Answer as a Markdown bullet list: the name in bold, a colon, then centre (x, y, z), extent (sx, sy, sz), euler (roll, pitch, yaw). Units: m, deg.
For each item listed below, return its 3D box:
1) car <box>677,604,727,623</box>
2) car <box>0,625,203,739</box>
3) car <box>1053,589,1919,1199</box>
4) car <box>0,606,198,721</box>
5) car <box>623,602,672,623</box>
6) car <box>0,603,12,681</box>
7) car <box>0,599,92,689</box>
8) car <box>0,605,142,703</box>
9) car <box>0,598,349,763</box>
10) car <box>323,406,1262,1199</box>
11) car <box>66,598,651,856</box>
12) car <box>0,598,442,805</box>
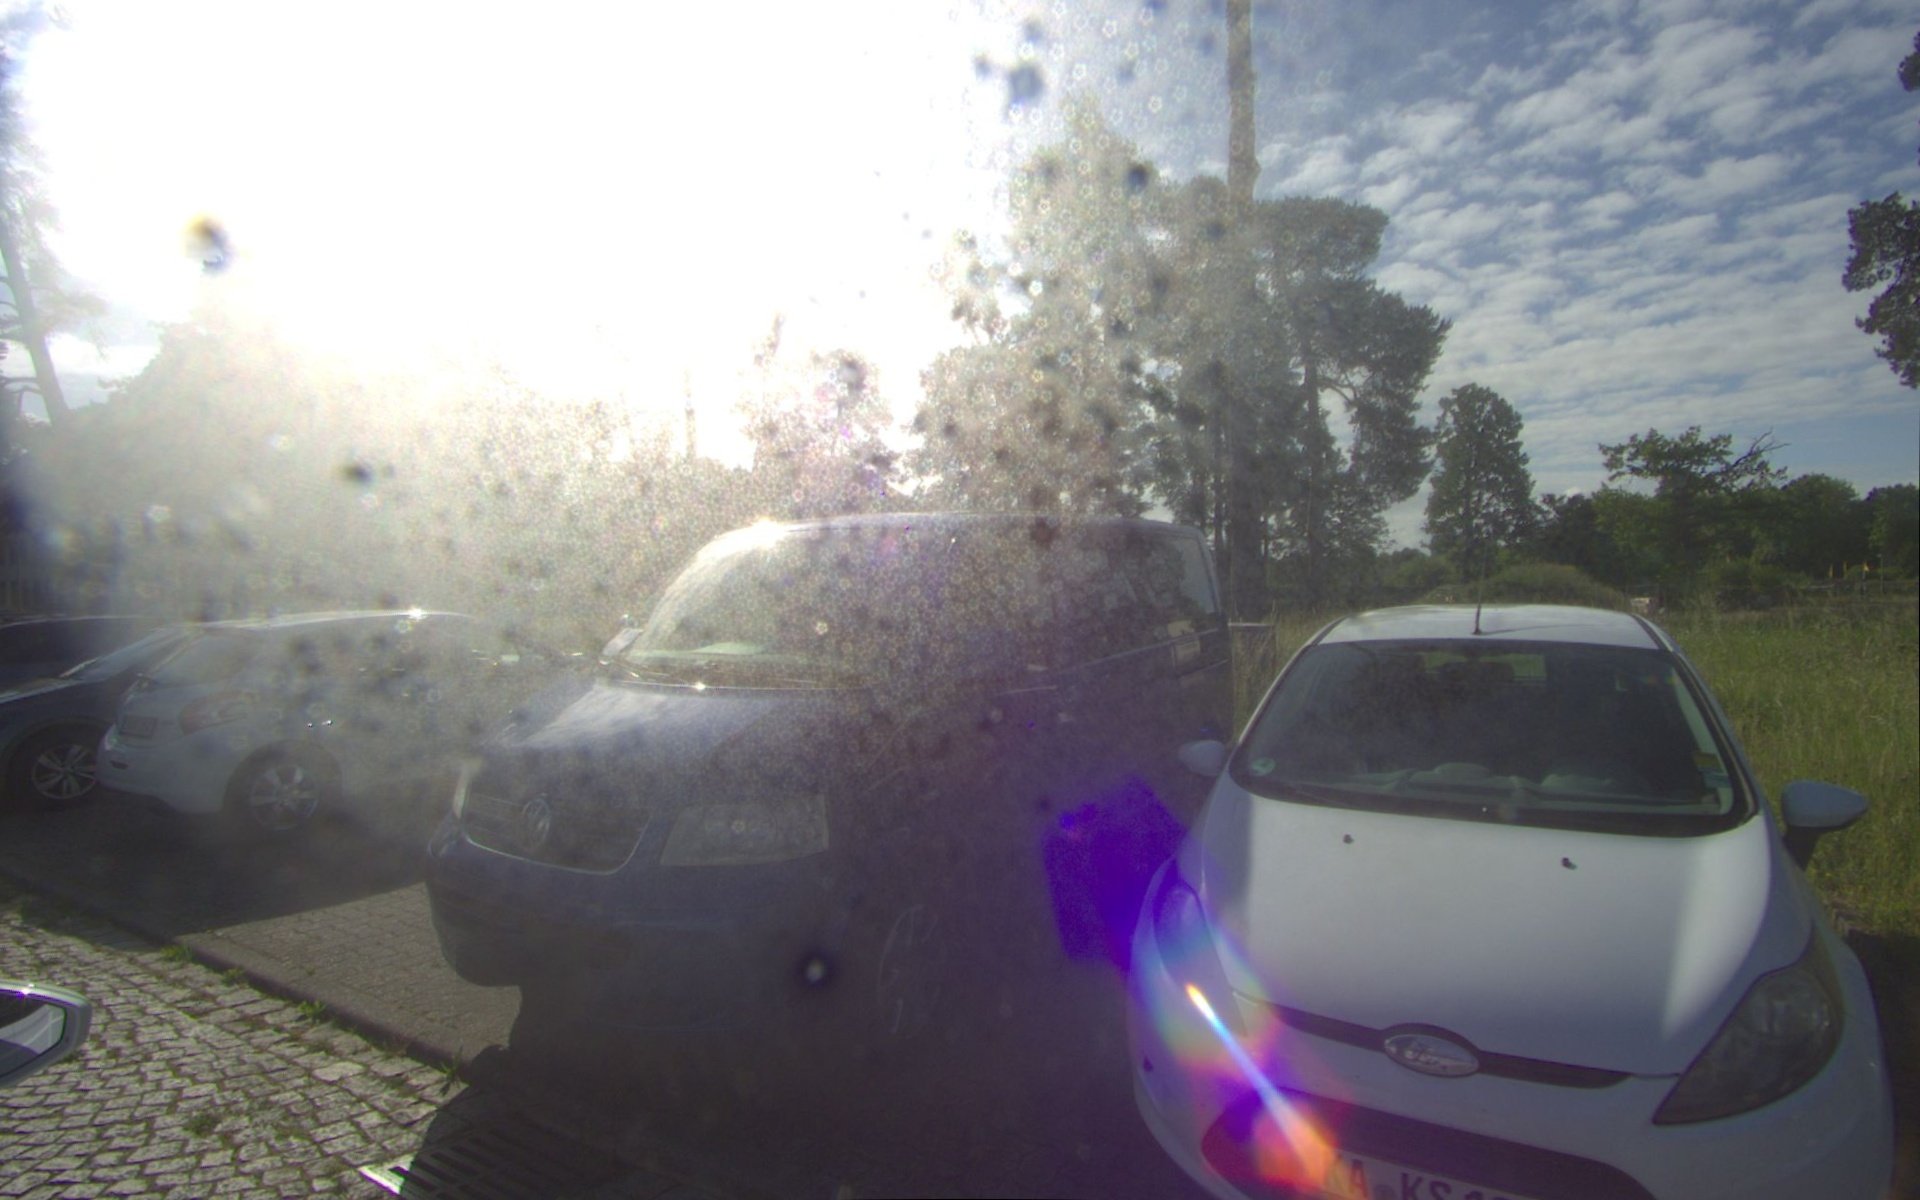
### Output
- **car**: centre (-20.668, 1.077, 80.376), extent (1.743, 1.517, 3.625), euler (0, 0, 35)
- **car**: centre (-11.557, 0.973, 12.171), extent (1.515, 1.259, 3.453), euler (0, 0, 33)
- **car**: centre (1.831, 0.746, 3.474), extent (1.586, 1.487, 3.713), euler (0, 2, 30)
- **car**: centre (-13.269, 0.866, 13.871), extent (1.632, 1.468, 3.970), euler (0, 1, 32)
- **car**: centre (-26.502, 1.066, 85.034), extent (1.743, 1.693, 3.625), euler (0, 0, 35)
- **car**: centre (-19.630, 0.846, 17.825), extent (1.641, 1.463, 3.664), euler (0, 2, 32)
- **car**: centre (-17.618, 0.821, 16.507), extent (1.842, 1.476, 4.610), euler (0, 2, 30)
- **car**: centre (-15.237, 0.849, 14.893), extent (1.763, 1.407, 4.389), euler (0, 1, 31)
- **car**: centre (-9.174, 0.783, 11.157), extent (1.643, 1.475, 3.653), euler (0, 2, 32)
- **car**: centre (-0.145, 0.460, 5.055), extent (1.972, 2.041, 4.741), euler (0, 2, 33)
- **car**: centre (-4.443, 0.760, 7.931), extent (1.611, 1.512, 3.636), euler (0, 0, 33)
- **car**: centre (-7.082, 0.766, 9.166), extent (1.733, 1.470, 3.770), euler (0, 1, 34)
